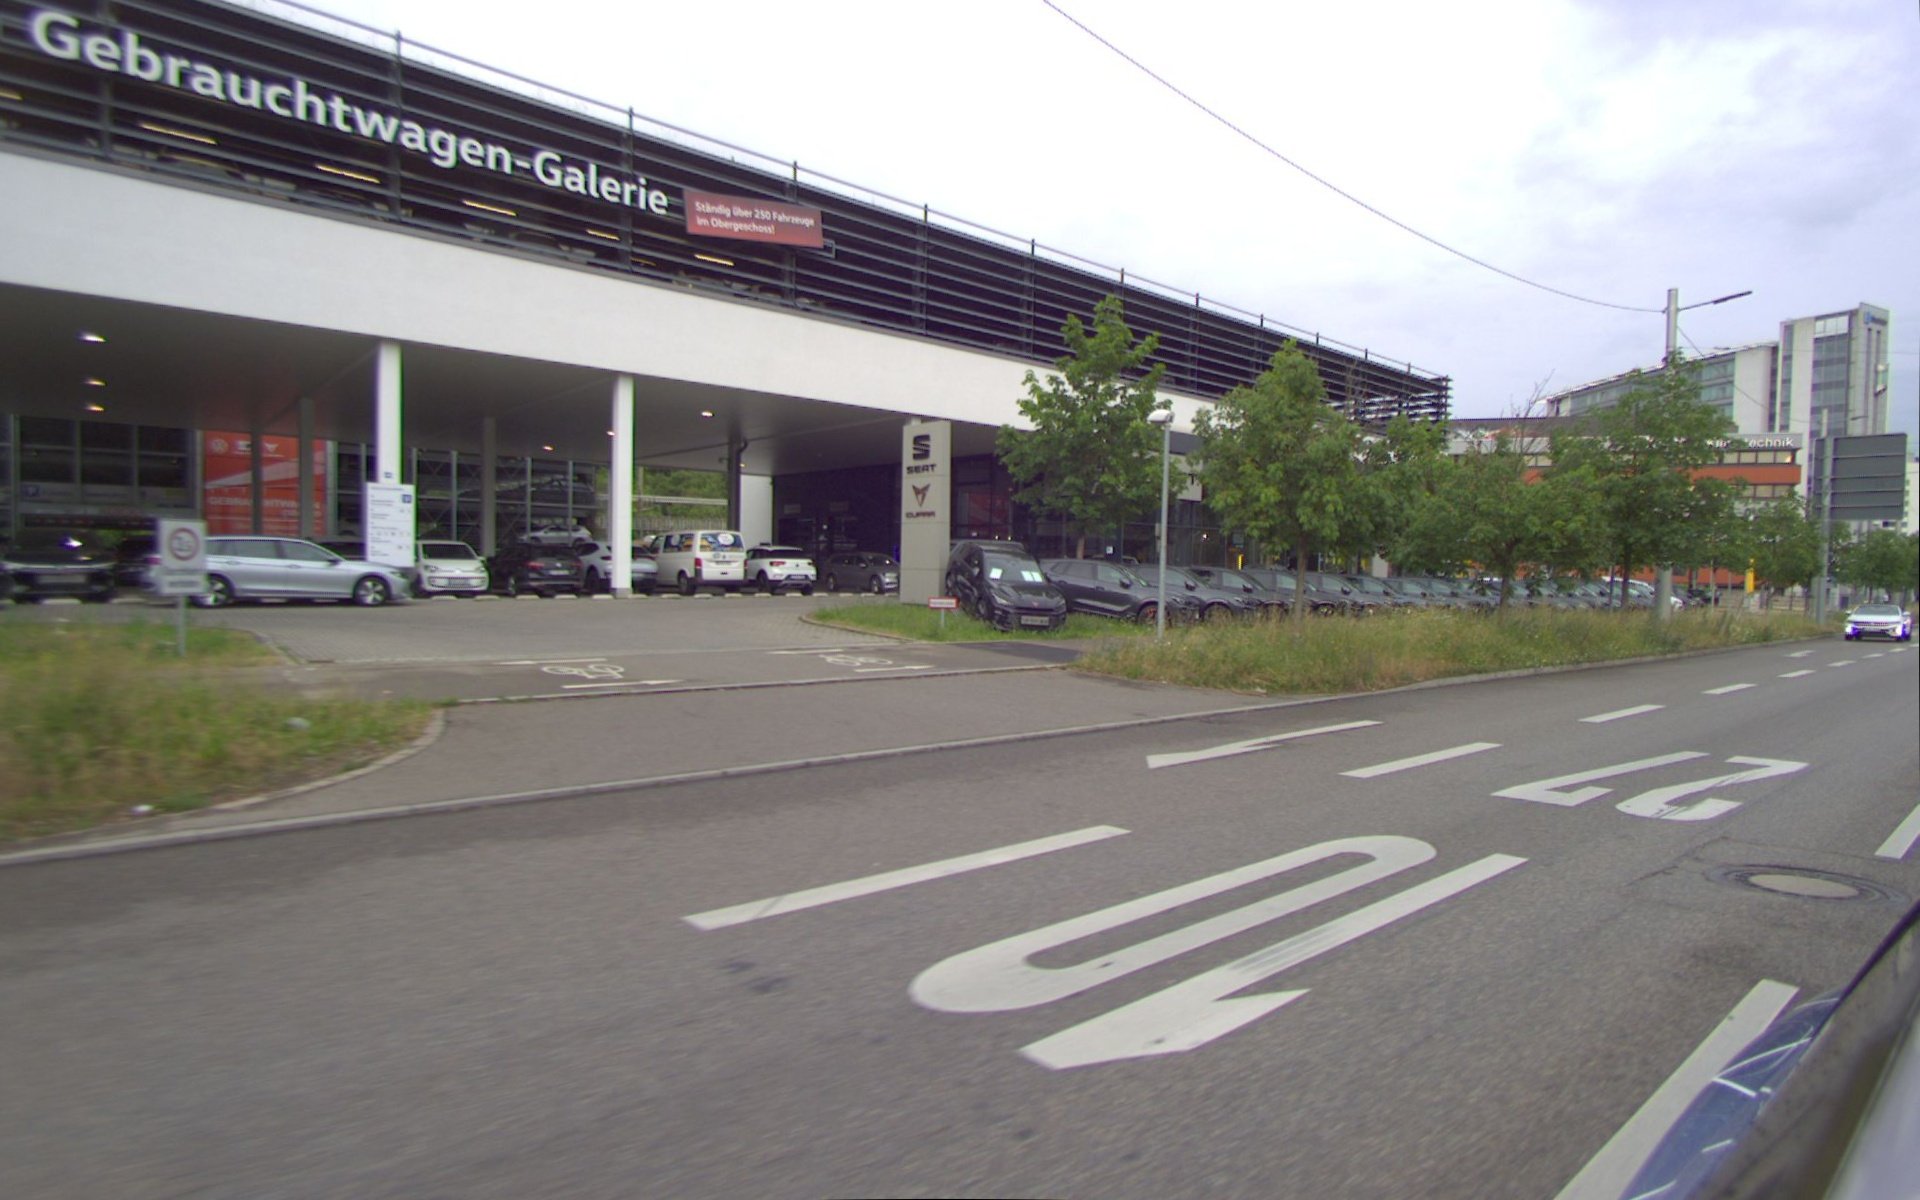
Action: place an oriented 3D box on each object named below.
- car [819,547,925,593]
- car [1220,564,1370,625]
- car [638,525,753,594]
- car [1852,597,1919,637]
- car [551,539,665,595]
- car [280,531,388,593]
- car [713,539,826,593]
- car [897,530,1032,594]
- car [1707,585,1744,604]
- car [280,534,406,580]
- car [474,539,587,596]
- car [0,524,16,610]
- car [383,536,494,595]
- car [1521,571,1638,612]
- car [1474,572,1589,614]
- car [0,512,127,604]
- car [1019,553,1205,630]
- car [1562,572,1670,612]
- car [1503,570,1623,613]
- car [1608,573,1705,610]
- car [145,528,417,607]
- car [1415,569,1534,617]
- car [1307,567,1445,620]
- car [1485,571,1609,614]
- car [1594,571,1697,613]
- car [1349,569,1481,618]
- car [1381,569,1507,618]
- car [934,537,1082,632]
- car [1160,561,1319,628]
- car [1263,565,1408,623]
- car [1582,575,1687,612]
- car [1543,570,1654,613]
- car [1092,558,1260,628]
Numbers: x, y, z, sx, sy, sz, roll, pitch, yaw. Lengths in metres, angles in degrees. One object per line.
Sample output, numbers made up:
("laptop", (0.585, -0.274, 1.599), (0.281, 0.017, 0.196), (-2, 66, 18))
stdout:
("car", (-3.248, -1.118, 36.803), (1.695, 1.532, 4.038), (0, 3, -42))
("car", (10.187, -0.215, 30.783), (4.110, 1.588, 1.812), (4, 3, 25))
("car", (-8.351, -1.278, 31.754), (1.911, 2.000, 4.035), (0, 3, -41))
("car", (37.604, 0.649, 40.833), (3.768, 1.513, 1.878), (0, 1, -40))
("car", (-10.600, -1.027, 30.302), (1.872, 1.555, 3.995), (0, 3, -41))
("car", (-15.977, -0.986, 25.746), (1.733, 1.442, 3.995), (0, 3, -41))
("car", (-6.309, -1.138, 33.250), (1.872, 1.652, 3.995), (0, 3, -41))
("car", (0.190, -1.237, 33.834), (4.354, 1.962, 1.890), (0, 2, -42))
("car", (65.267, -0.456, 86.290), (3.716, 1.436, 1.783), (0, 3, -42))
("car", (-23.875, -1.654, 39.204), (3.930, 1.611, 1.809), (0, 3, -41))
("car", (-11.997, -0.926, 28.135), (1.733, 1.463, 3.995), (0, 3, -41))
("car", (-19.083, -0.602, 17.017), (4.614, 1.485, 1.783), (-1, 4, -42))
("car", (-13.993, -0.951, 27.056), (1.733, 1.442, 3.995), (0, 3, -41))
("car", (29.464, -0.432, 48.243), (4.482, 1.638, 1.795), (5, 4, 41))
("car", (24.397, -0.348, 43.241), (4.037, 1.520, 1.664), (5, 3, 38))
("car", (-18.903, -0.811, 21.425), (1.856, 1.750, 3.996), (0, 0, -38))
("car", (3.808, -0.265, 25.318), (4.283, 1.632, 1.858), (4, 3, 21))
("car", (33.728, -0.464, 52.096), (4.476, 1.773, 1.797), (5, 3, 37))
("car", (27.688, -0.418, 46.541), (4.478, 1.683, 1.796), (5, 3, 38))
("car", (39.150, -0.499, 56.995), (4.365, 1.811, 1.855), (4, 3, 36))
("car", (-14.368, -0.701, 21.572), (4.616, 1.485, 1.898), (-1, 4, -42))
("car", (20.181, -0.323, 39.743), (4.024, 1.595, 1.715), (4, 3, 30))
("car", (14.175, -0.259, 34.563), (4.118, 1.546, 1.812), (4, 3, 30))
("car", (25.994, -0.378, 44.884), (4.478, 1.588, 1.796), (5, 3, 38))
("car", (37.414, -0.492, 55.354), (4.466, 2.015, 1.801), (4, 3, 32))
("car", (16.284, -0.280, 36.277), (4.118, 1.476, 1.775), (4, 3, 30))
("car", (18.217, -0.293, 38.135), (4.118, 1.552, 1.775), (4, 3, 30))
("car", (0.935, -0.438, 23.062), (1.786, 1.899, 4.734), (2, 3, -17))
("car", (8.008, -0.211, 29.002), (4.110, 1.624, 1.812), (4, 3, 25))
("car", (12.137, -0.244, 32.788), (4.118, 1.588, 1.890), (4, 3, 30))
("car", (35.691, -0.373, 53.627), (4.473, 1.657, 1.798), (4, 3, 35))
("car", (31.611, -0.448, 50.148), (4.476, 1.817, 1.797), (5, 3, 37))
("car", (5.799, -0.246, 27.154), (4.107, 1.581, 1.855), (4, 3, 23))
